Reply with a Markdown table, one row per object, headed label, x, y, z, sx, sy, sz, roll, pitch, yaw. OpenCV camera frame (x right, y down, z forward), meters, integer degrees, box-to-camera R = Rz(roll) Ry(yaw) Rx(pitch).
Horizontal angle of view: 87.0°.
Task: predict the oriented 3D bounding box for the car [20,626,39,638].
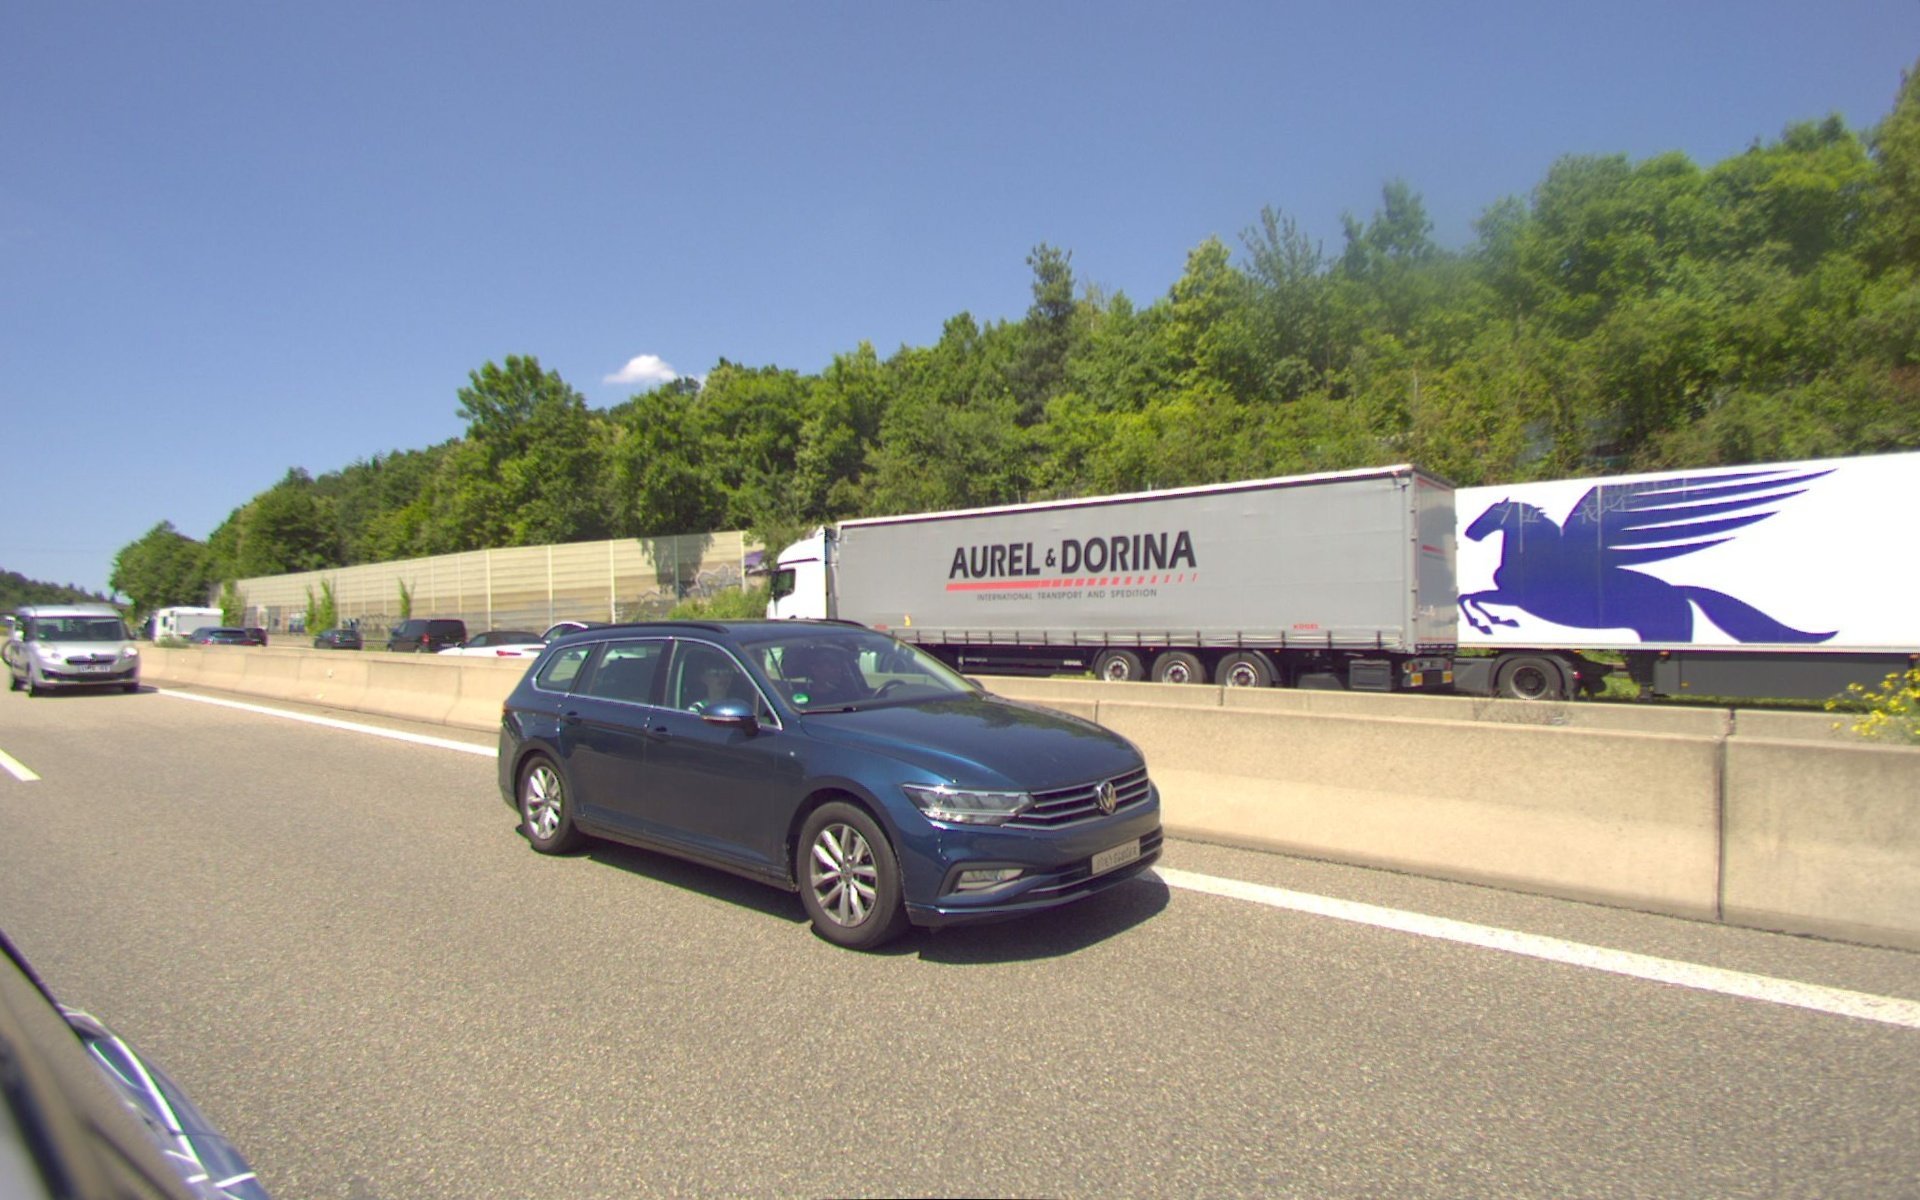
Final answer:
| label | x | y | z | sx | sy | sz | roll | pitch | yaw |
| --- | --- | --- | --- | --- | --- | --- | --- | --- | --- |
| car | -159.690 | 5.470 | 173.625 | 5.302 | 1.881 | 1.900 | -2 | -2 | 42 |

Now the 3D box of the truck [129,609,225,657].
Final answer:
| label | x | y | z | sx | sy | sz | roll | pitch | yaw |
| --- | --- | --- | --- | --- | --- | --- | --- | --- | --- |
| truck | -48.374 | 1.992 | 62.355 | 11.624 | 2.709 | 2.501 | -1 | -3 | 42 |

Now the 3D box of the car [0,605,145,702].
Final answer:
| label | x | y | z | sx | sy | sz | roll | pitch | yaw |
| --- | --- | --- | --- | --- | --- | --- | --- | --- | --- |
| car | -18.731 | 1.094 | 21.304 | 3.998 | 1.858 | 1.757 | -2 | -3 | 42 |

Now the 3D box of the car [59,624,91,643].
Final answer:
| label | x | y | z | sx | sy | sz | roll | pitch | yaw |
| --- | --- | --- | --- | --- | --- | --- | --- | --- | --- |
| car | -80.157 | 3.010 | 91.652 | 4.194 | 1.696 | 1.675 | -2 | -2 | 42 |

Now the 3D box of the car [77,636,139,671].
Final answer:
| label | x | y | z | sx | sy | sz | roll | pitch | yaw |
| --- | --- | --- | --- | --- | --- | --- | --- | --- | --- |
| car | -46.783 | 2.902 | 55.548 | 4.692 | 1.815 | 1.926 | -1 | -3 | 42 |

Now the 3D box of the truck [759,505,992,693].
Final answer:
| label | x | y | z | sx | sy | sz | roll | pitch | yaw |
| --- | --- | --- | --- | --- | --- | --- | --- | --- | --- |
| truck | -2.258 | 0.053 | 25.842 | 5.657 | 4.246 | 2.811 | -2 | -2 | 41 |

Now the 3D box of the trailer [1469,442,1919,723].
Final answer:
| label | x | y | z | sx | sy | sz | roll | pitch | yaw |
| --- | --- | --- | --- | --- | --- | --- | --- | --- | --- |
| trailer | 15.021 | -0.214 | 15.538 | 12.619 | 4.078 | 2.778 | -1 | -2 | 41 |

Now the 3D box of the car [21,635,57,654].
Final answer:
| label | x | y | z | sx | sy | sz | roll | pitch | yaw |
| --- | --- | --- | --- | --- | --- | --- | --- | --- | --- |
| car | -70.565 | 3.415 | 77.511 | 4.269 | 1.386 | 1.597 | -2 | -3 | 42 |

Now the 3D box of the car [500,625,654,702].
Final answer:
| label | x | y | z | sx | sy | sz | roll | pitch | yaw |
| --- | --- | --- | --- | --- | --- | --- | --- | --- | --- |
| car | -10.797 | 1.716 | 28.400 | 4.745 | 1.964 | 1.973 | -1 | -3 | 40 |

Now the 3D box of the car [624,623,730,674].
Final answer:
| label | x | y | z | sx | sy | sz | roll | pitch | yaw |
| --- | --- | --- | --- | --- | --- | --- | --- | --- | --- |
| car | -10.656 | 1.791 | 38.010 | 4.374 | 1.764 | 1.659 | -1 | -3 | 41 |

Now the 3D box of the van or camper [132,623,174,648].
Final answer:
| label | x | y | z | sx | sy | sz | roll | pitch | yaw |
| --- | --- | --- | --- | --- | --- | --- | --- | --- | --- |
| van or camper | -66.040 | 2.935 | 82.817 | 3.703 | 1.992 | 2.054 | -2 | -3 | 41 |

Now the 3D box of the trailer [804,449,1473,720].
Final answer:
| label | x | y | z | sx | sy | sz | roll | pitch | yaw |
| --- | --- | --- | --- | --- | --- | --- | --- | --- | --- |
| trailer | 2.574 | -0.126 | 21.601 | 14.731 | 4.197 | 2.805 | -1 | -3 | 41 |

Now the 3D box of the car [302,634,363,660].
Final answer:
| label | x | y | z | sx | sy | sz | roll | pitch | yaw |
| --- | --- | --- | --- | --- | --- | --- | --- | --- | --- |
| car | -38.801 | 2.897 | 62.569 | 4.692 | 1.446 | 1.926 | -1 | -3 | 42 |

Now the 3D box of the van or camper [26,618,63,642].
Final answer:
| label | x | y | z | sx | sy | sz | roll | pitch | yaw |
| --- | --- | --- | --- | --- | --- | --- | --- | --- | --- |
| van or camper | -105.686 | 3.445 | 116.788 | 6.802 | 2.756 | 2.246 | -1 | -3 | 41 |

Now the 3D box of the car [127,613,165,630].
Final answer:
| label | x | y | z | sx | sy | sz | roll | pitch | yaw |
| --- | --- | --- | --- | --- | --- | --- | --- | --- | --- |
| car | -69.858 | 1.875 | 86.864 | 4.721 | 1.357 | 1.782 | -2 | -3 | 42 |

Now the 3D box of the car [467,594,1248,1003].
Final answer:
| label | x | y | z | sx | sy | sz | roll | pitch | yaw |
| --- | --- | --- | --- | --- | --- | --- | --- | --- | --- |
| car | -0.940 | 0.772 | 5.810 | 4.728 | 1.438 | 1.714 | -2 | -3 | 42 |

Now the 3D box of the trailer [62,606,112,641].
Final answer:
| label | x | y | z | sx | sy | sz | roll | pitch | yaw |
| --- | --- | --- | --- | --- | --- | --- | --- | --- | --- |
| trailer | -101.164 | 2.701 | 117.185 | 13.827 | 3.938 | 2.782 | -1 | -3 | 43 |

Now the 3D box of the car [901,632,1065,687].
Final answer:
| label | x | y | z | sx | sy | sz | roll | pitch | yaw |
| --- | --- | --- | --- | --- | --- | --- | --- | --- | --- |
| car | 0.563 | 1.591 | 27.917 | 4.499 | 1.381 | 1.744 | -2 | -2 | 41 |

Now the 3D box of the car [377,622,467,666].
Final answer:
| label | x | y | z | sx | sy | sz | roll | pitch | yaw |
| --- | --- | --- | --- | --- | --- | --- | --- | --- | --- |
| car | -23.778 | 1.920 | 44.646 | 4.859 | 1.823 | 1.717 | -1 | -2 | 39 |

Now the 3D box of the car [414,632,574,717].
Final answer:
| label | x | y | z | sx | sy | sz | roll | pitch | yaw |
| --- | --- | --- | --- | --- | --- | --- | --- | --- | --- |
| car | -11.139 | 1.698 | 24.107 | 3.998 | 1.807 | 1.973 | -1 | -3 | 41 |

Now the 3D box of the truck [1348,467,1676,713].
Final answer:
| label | x | y | z | sx | sy | sz | roll | pitch | yaw |
| --- | --- | --- | --- | --- | --- | --- | --- | --- | --- |
| truck | 10.504 | -0.106 | 19.464 | 5.082 | 4.078 | 2.778 | -1 | -2 | 41 |

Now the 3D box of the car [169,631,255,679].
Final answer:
| label | x | y | z | sx | sy | sz | roll | pitch | yaw |
| --- | --- | --- | --- | --- | --- | --- | --- | --- | --- |
| car | -29.679 | 2.132 | 40.101 | 4.180 | 1.785 | 1.754 | -1 | -3 | 40 |
